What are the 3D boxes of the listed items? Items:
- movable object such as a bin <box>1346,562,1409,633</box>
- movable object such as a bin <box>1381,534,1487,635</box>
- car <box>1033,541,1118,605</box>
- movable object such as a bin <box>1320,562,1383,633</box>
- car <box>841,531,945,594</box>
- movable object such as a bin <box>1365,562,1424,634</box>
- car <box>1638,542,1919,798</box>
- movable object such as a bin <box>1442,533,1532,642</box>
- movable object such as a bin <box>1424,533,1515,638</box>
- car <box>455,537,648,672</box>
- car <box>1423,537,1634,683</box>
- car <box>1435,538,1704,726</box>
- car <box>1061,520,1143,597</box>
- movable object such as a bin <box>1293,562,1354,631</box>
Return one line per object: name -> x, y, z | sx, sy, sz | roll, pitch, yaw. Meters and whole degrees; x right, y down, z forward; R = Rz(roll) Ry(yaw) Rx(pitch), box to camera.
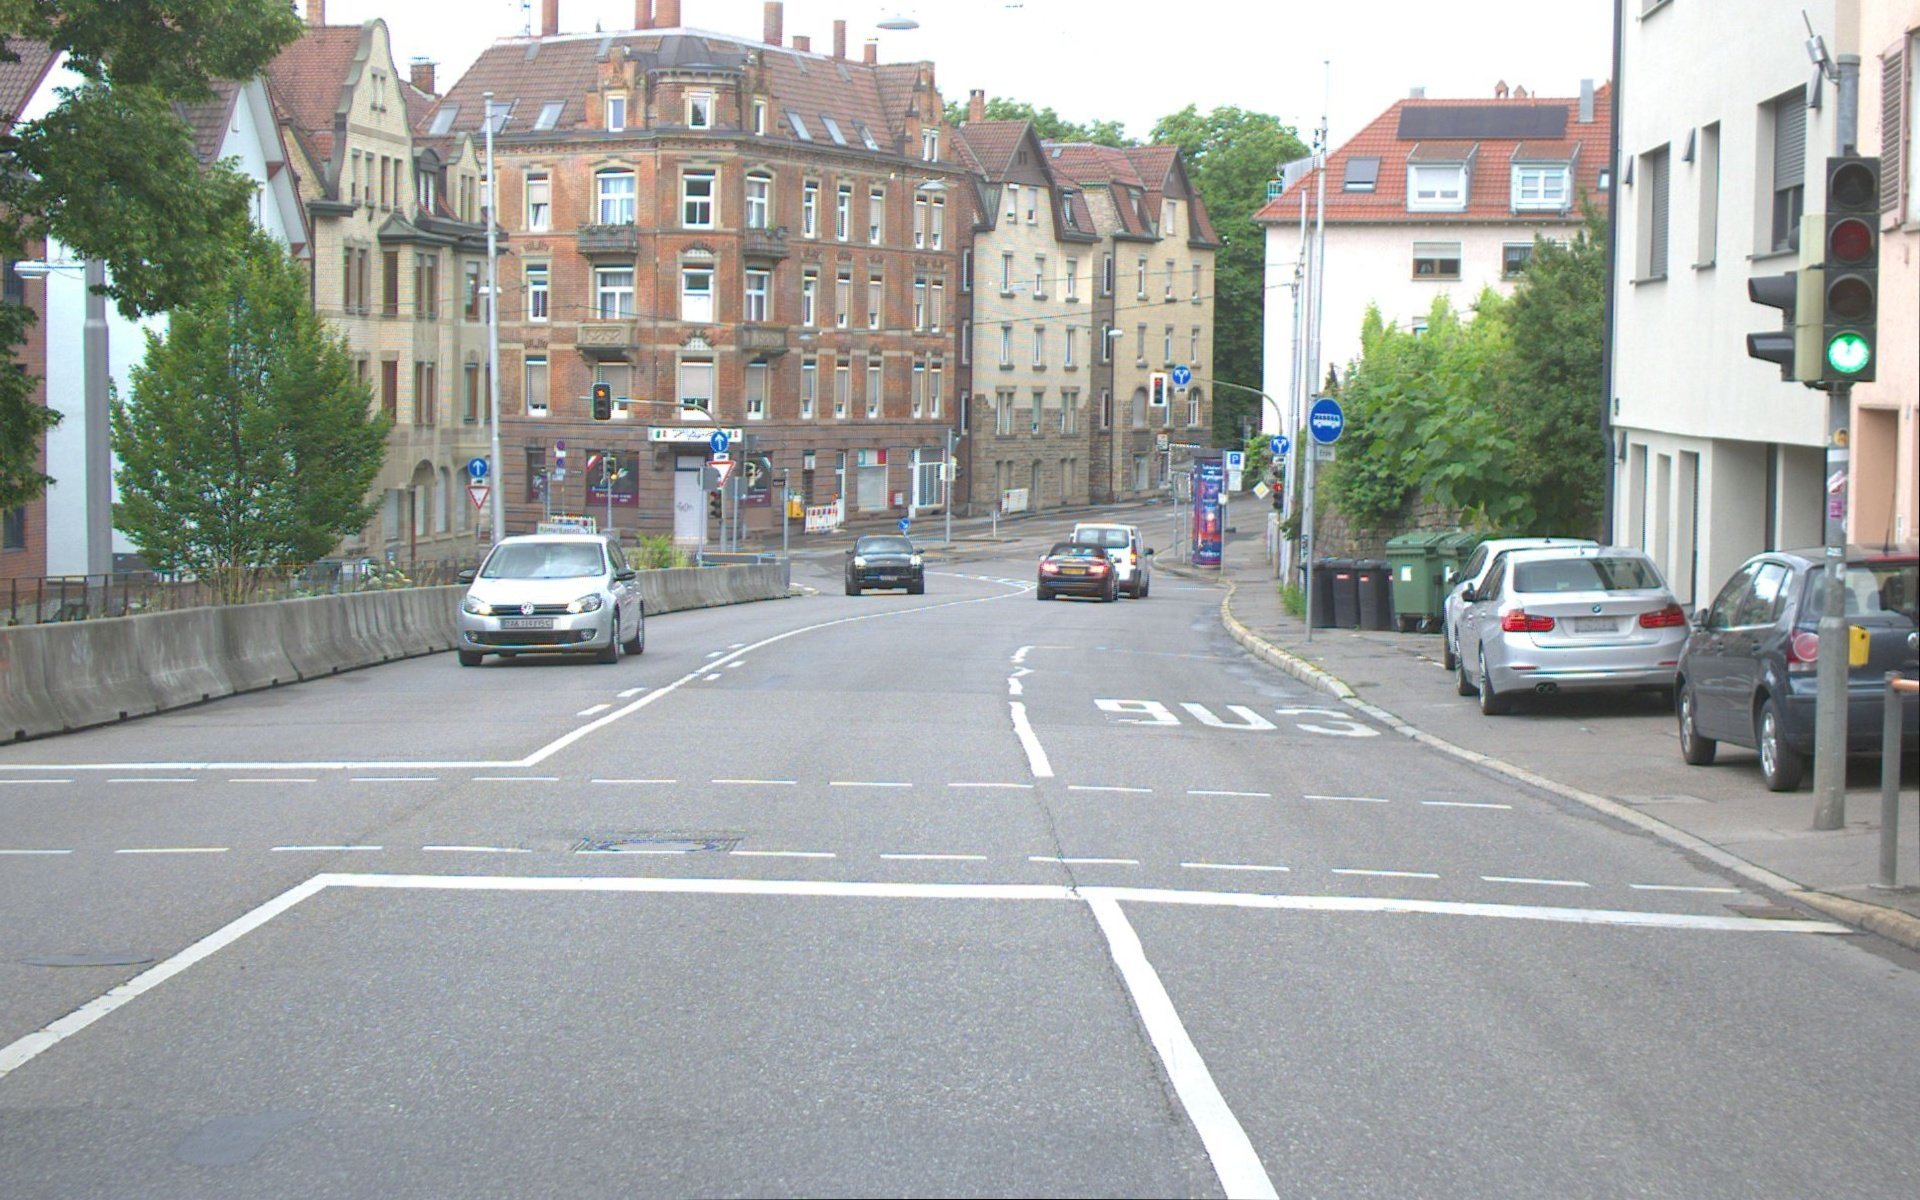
movable object such as a bin -> 6.263, -0.041, 51.573 | 0.742, 1.055, 0.679 | 0, 0, -15
movable object such as a bin -> 6.855, -0.225, 49.820 | 1.047, 1.440, 1.419 | 0, 0, -15
car -> 2.794, -0.662, 82.398 | 1.817, 1.425, 4.000 | 2, 1, 5
movable object such as a bin -> 5.950, -0.040, 52.298 | 0.742, 1.055, 0.679 | 0, 0, -15
car -> -1.738, -1.003, 90.400 | 1.982, 1.569, 4.373 | -1, 1, 9
movable object such as a bin -> 6.433, -0.034, 50.920 | 0.709, 1.055, 0.547 | 0, 0, -15
car -> 5.643, 0.384, 22.188 | 1.681, 1.446, 4.000 | -3, 0, 0
movable object such as a bin -> 7.118, -0.167, 46.494 | 1.047, 1.440, 1.205 | 0, 0, 1
movable object such as a bin -> 7.110, -0.209, 47.986 | 1.047, 1.440, 1.205 | 0, 0, -2
car -> -4.612, 0.018, 39.335 | 1.720, 1.440, 4.159 | -1, 1, 0
car -> 5.923, 0.074, 36.186 | 1.794, 1.418, 4.004 | -1, 1, 4
car -> 5.414, 0.229, 31.056 | 1.794, 1.446, 4.718 | -3, 1, 4
car -> 3.700, -1.076, 89.118 | 1.909, 1.877, 3.999 | 2, 1, 5
movable object such as a bin -> 5.595, -0.056, 52.937 | 0.742, 1.055, 0.679 | 0, 0, -15
